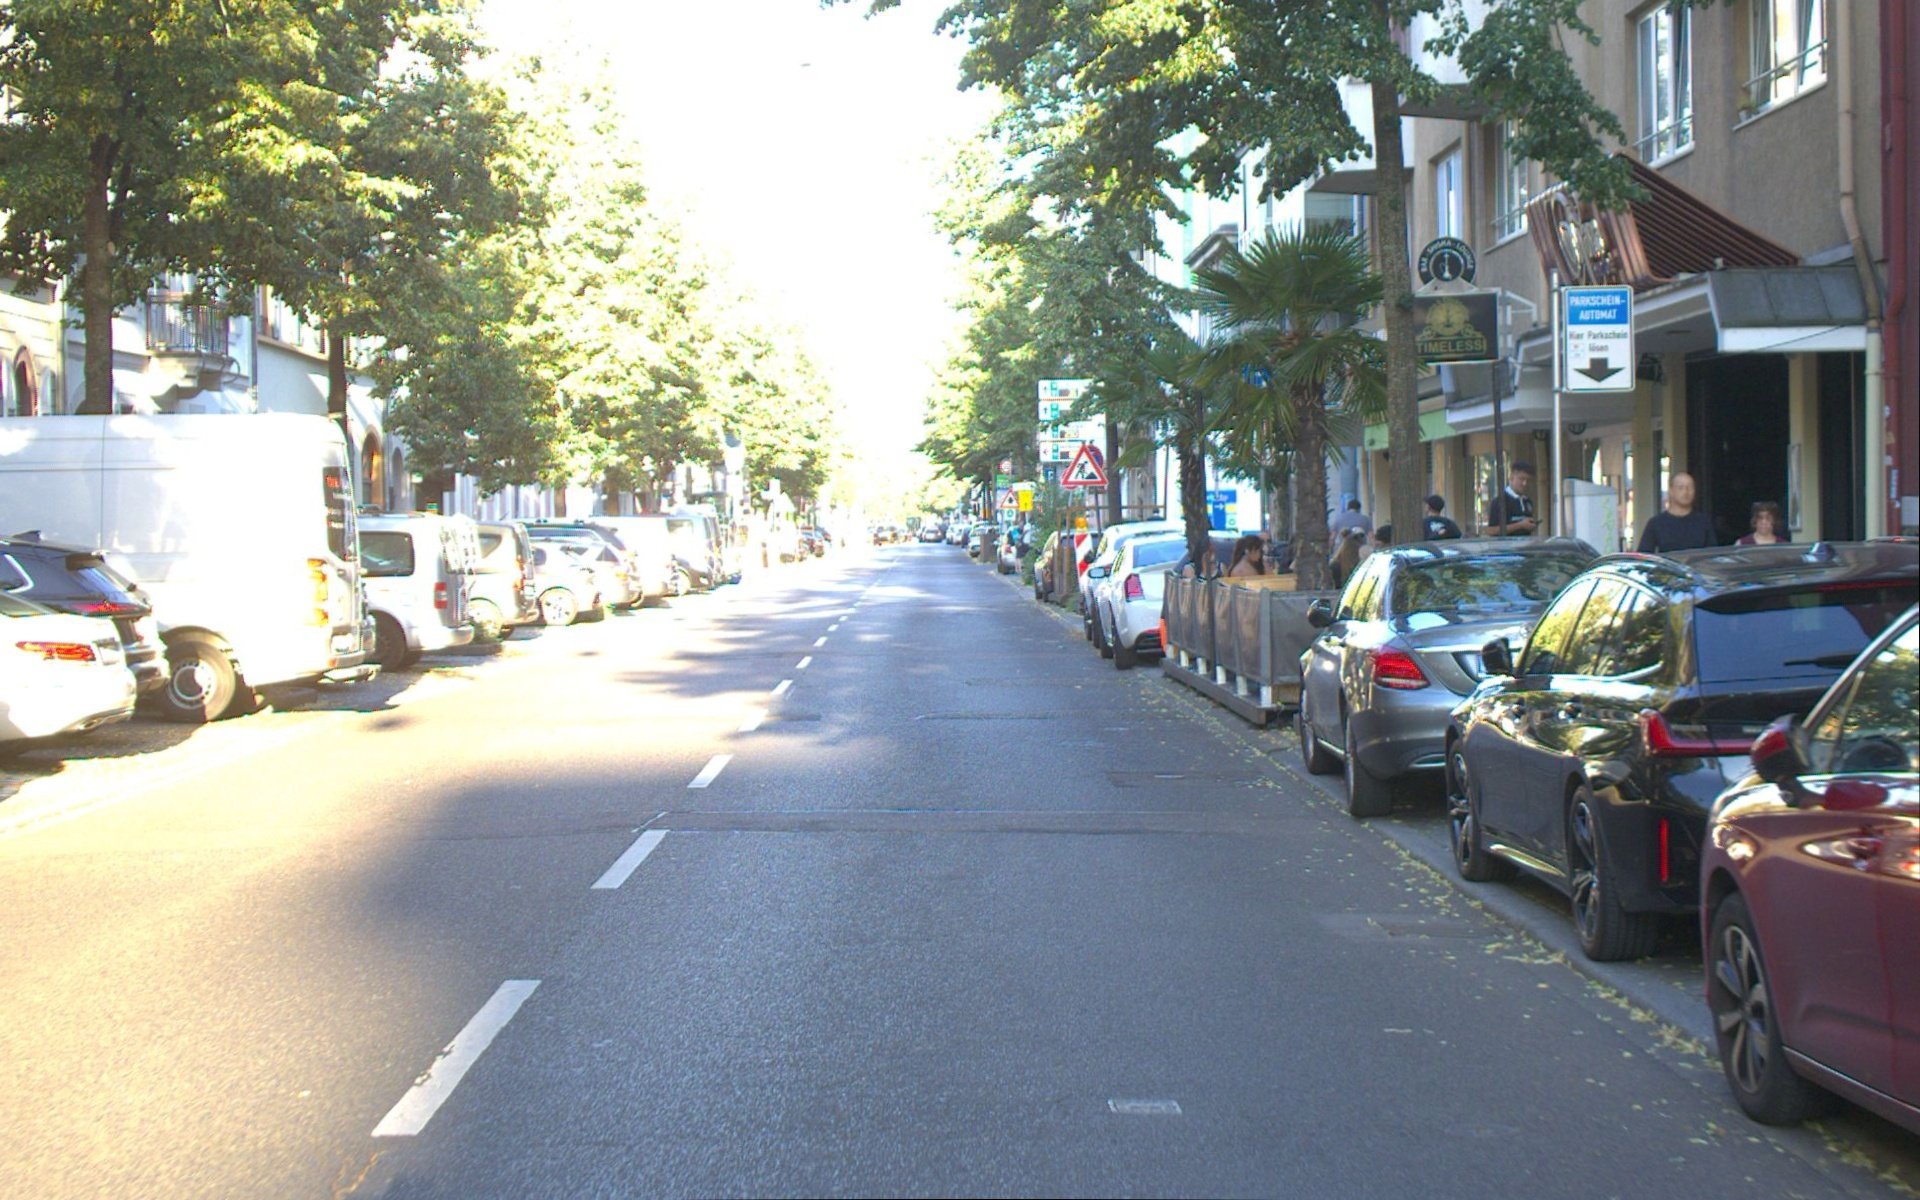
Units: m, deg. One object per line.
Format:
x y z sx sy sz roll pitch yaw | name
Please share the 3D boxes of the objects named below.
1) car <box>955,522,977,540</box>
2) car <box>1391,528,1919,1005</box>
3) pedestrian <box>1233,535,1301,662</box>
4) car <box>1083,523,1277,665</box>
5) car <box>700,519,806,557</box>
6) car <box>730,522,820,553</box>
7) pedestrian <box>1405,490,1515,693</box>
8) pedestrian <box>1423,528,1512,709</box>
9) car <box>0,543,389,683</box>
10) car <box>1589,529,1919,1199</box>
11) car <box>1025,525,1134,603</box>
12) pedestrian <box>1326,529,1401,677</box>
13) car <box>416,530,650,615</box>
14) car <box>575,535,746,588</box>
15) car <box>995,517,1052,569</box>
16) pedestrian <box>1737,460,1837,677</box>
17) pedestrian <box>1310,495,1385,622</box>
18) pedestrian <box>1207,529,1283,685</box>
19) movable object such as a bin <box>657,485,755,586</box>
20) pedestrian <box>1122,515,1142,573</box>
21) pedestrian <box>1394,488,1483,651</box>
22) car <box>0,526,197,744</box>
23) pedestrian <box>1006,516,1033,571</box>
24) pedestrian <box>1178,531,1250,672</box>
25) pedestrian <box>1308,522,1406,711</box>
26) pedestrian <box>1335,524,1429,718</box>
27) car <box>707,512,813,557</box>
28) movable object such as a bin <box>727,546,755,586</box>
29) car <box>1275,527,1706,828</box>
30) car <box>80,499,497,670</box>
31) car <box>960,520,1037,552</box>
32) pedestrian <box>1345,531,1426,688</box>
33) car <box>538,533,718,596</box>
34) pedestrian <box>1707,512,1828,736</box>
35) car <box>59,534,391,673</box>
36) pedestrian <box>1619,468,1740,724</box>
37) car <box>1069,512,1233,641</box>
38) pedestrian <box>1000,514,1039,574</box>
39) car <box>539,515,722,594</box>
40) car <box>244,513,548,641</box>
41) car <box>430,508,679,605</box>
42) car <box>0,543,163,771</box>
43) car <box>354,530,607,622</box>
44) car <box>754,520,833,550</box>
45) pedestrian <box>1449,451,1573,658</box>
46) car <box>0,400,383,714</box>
0.451 -5.008 249.004 1.513 1.271 3.304 0 1 1 | car
2.932 0.498 13.438 1.774 1.465 4.418 -3 1 -1 | car
3.086 -0.022 34.584 0.577 1.239 0.603 -3 1 0 | pedestrian
2.544 -0.120 40.875 1.842 1.475 5.190 -3 1 -1 | car
-9.238 -2.759 153.738 4.571 1.692 2.060 0 1 0 | car
-9.429 -3.170 175.307 4.442 1.562 1.919 0 1 0 | car
4.063 -0.075 27.975 0.708 1.593 0.795 -3 1 0 | pedestrian
3.855 0.137 26.135 0.547 1.340 0.438 -3 1 0 | pedestrian
-7.987 0.130 35.299 3.986 1.399 1.750 0 0 -2 | car
2.855 0.583 8.051 1.722 1.487 4.753 -3 1 -1 | car
2.454 -0.767 71.599 1.828 1.483 4.850 -3 1 -2 | car
3.852 0.022 32.857 0.577 1.380 0.603 -3 1 0 | pedestrian
-7.771 -0.514 62.866 4.037 1.478 1.963 -1 1 -1 | car
-8.396 -1.087 96.583 4.594 1.465 1.892 0 1 3 | car
2.078 -1.885 112.996 1.687 1.569 4.013 -3 1 0 | car
7.354 -0.289 30.549 0.799 1.876 0.877 -1 3 15 | pedestrian
5.575 -0.600 49.482 0.855 1.788 0.997 -2 1 -4 | pedestrian
2.595 0.056 31.297 0.577 1.380 0.603 -3 1 0 | pedestrian
-7.685 -1.964 104.534 2.625 2.959 5.304 -1 1 -1 | movable object such as a bin
5.536 -1.798 110.452 0.460 1.869 0.501 -2 1 -15 | pedestrian
5.110 -0.328 36.739 0.788 1.698 0.700 -2 1 0 | pedestrian
-8.216 0.224 26.488 4.213 1.594 1.975 1 1 1 | car
1.899 -1.801 109.972 0.677 1.748 0.825 -1 1 -11 | pedestrian
2.431 0.005 32.991 0.577 1.314 0.704 -3 1 0 | pedestrian
3.227 0.124 27.965 0.631 1.480 0.795 -3 1 0 | pedestrian
3.249 0.154 26.484 0.577 1.457 0.603 -3 1 0 | pedestrian
-8.785 -2.860 151.080 4.571 1.955 1.991 0 1 -1 | car
-6.283 -0.977 98.580 0.690 1.101 0.883 -2 1 1 | movable object such as a bin
2.937 0.346 20.060 1.774 1.435 5.000 -3 1 1 | car
-7.863 -0.202 40.538 4.500 1.947 1.919 0 1 2 | car
1.923 -3.157 169.553 1.674 1.583 3.814 1 1 42 | car
3.855 0.076 31.183 0.577 1.380 0.718 -3 1 0 | pedestrian
-8.104 -0.880 84.003 4.325 1.496 1.842 0 1 -5 | car
5.500 0.158 23.440 0.624 1.483 0.640 -2 1 0 | pedestrian
-8.084 0.024 38.024 3.368 1.462 1.713 1 1 -4 | car
4.823 -0.034 23.068 0.624 1.671 0.640 -2 1 0 | pedestrian
2.548 -0.357 46.812 1.879 1.568 4.692 -3 1 0 | car
1.855 -1.759 107.319 1.013 1.819 0.780 -3 1 -10 | pedestrian
-8.424 -1.180 88.145 4.483 1.969 2.068 0 1 0 | car
-8.295 -0.349 50.781 4.138 1.800 1.807 -1 1 1 | car
-8.307 -0.897 70.681 4.870 1.901 1.974 -1 1 0 | car
-7.842 0.349 23.851 4.213 1.501 1.793 1 1 -1 | car
-8.025 -0.412 57.774 4.058 1.456 1.686 -1 1 -3 | car
-9.641 -3.750 199.202 4.442 1.753 1.919 0 1 0 | car
5.132 -0.430 32.005 0.800 1.876 0.876 0 3 35 | pedestrian
-8.043 -0.398 29.945 5.658 2.612 2.171 1 1 0 | car
